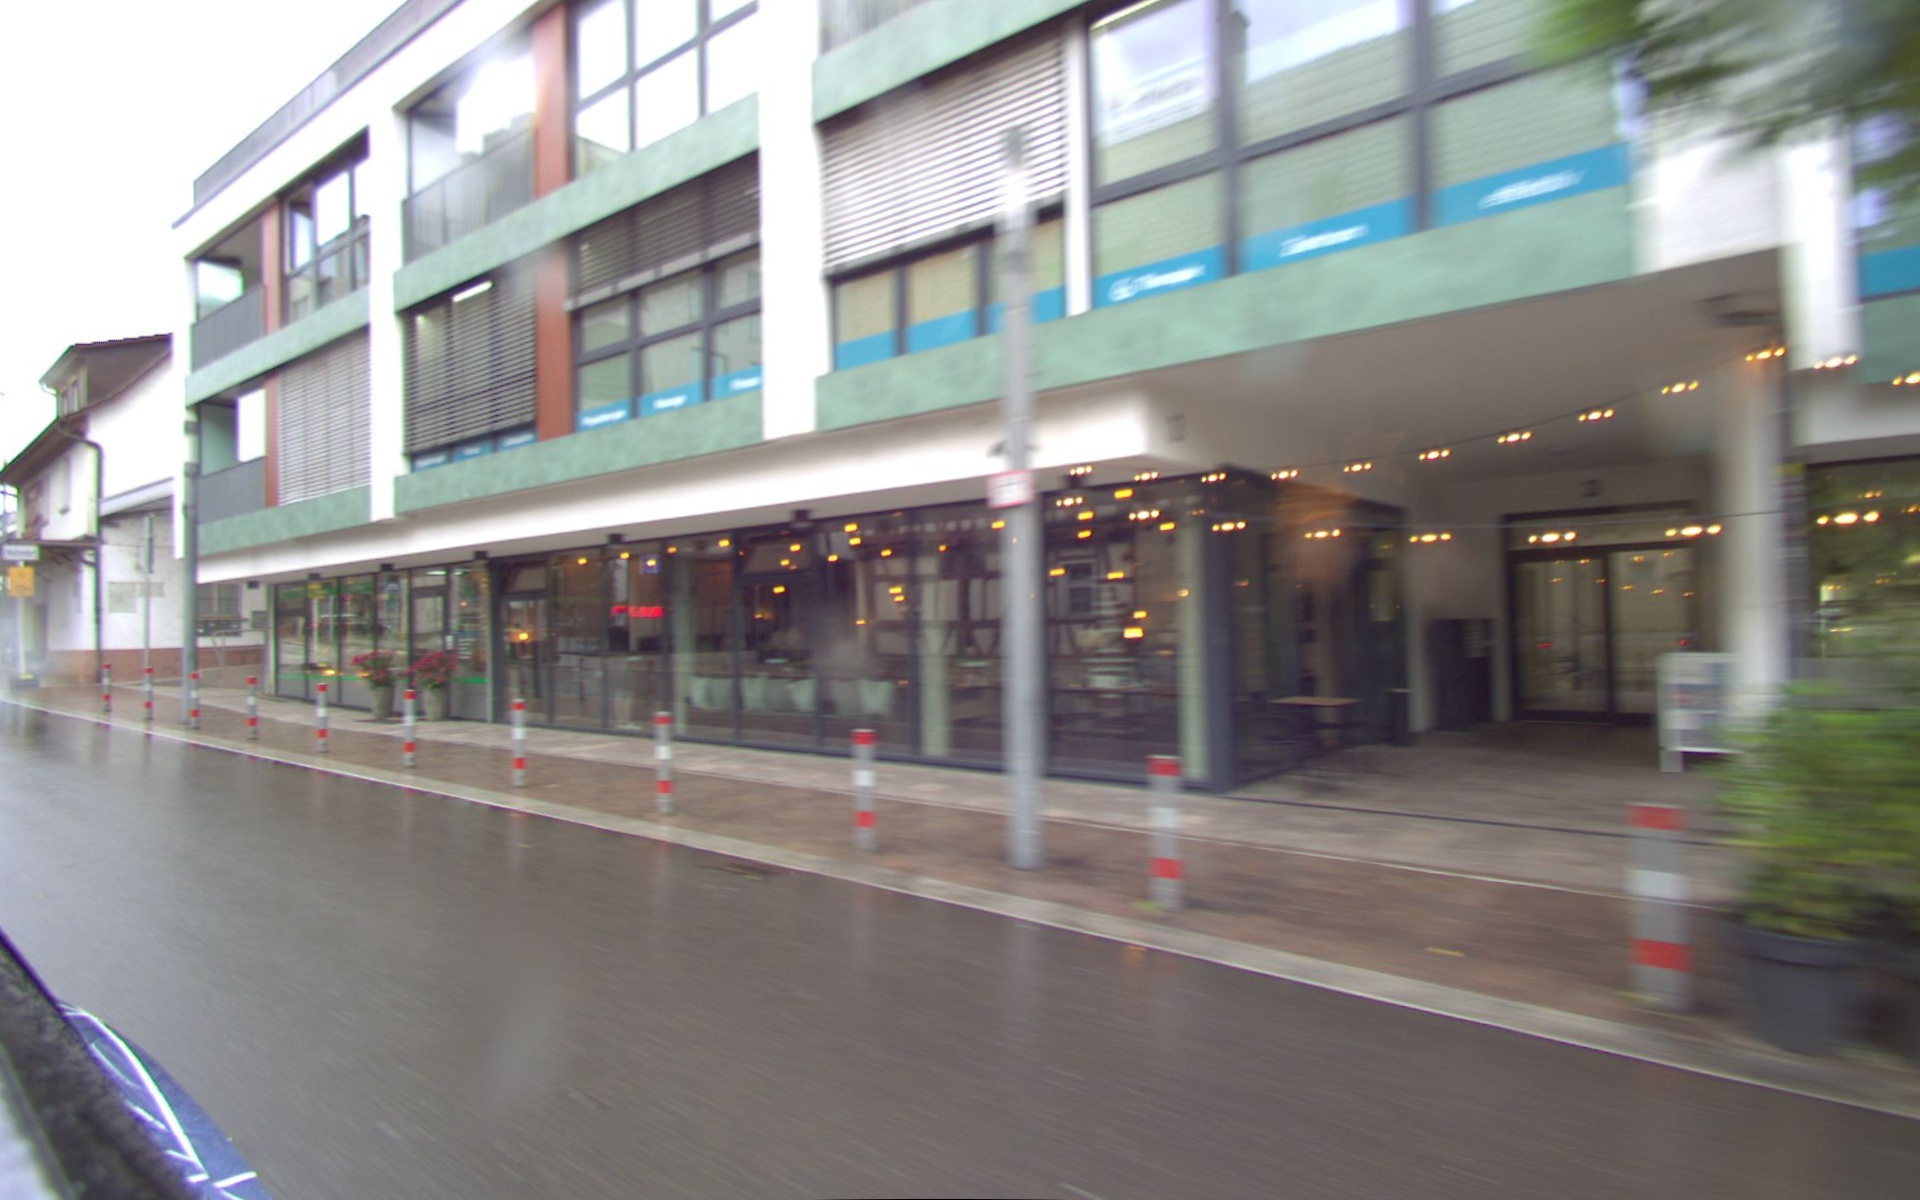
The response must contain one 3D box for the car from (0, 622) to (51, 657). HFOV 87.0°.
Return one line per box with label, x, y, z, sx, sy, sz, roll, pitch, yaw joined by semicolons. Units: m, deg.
car;-57.882;2.377;60.970;4.415;2.029;2.004;3;-4;-37
